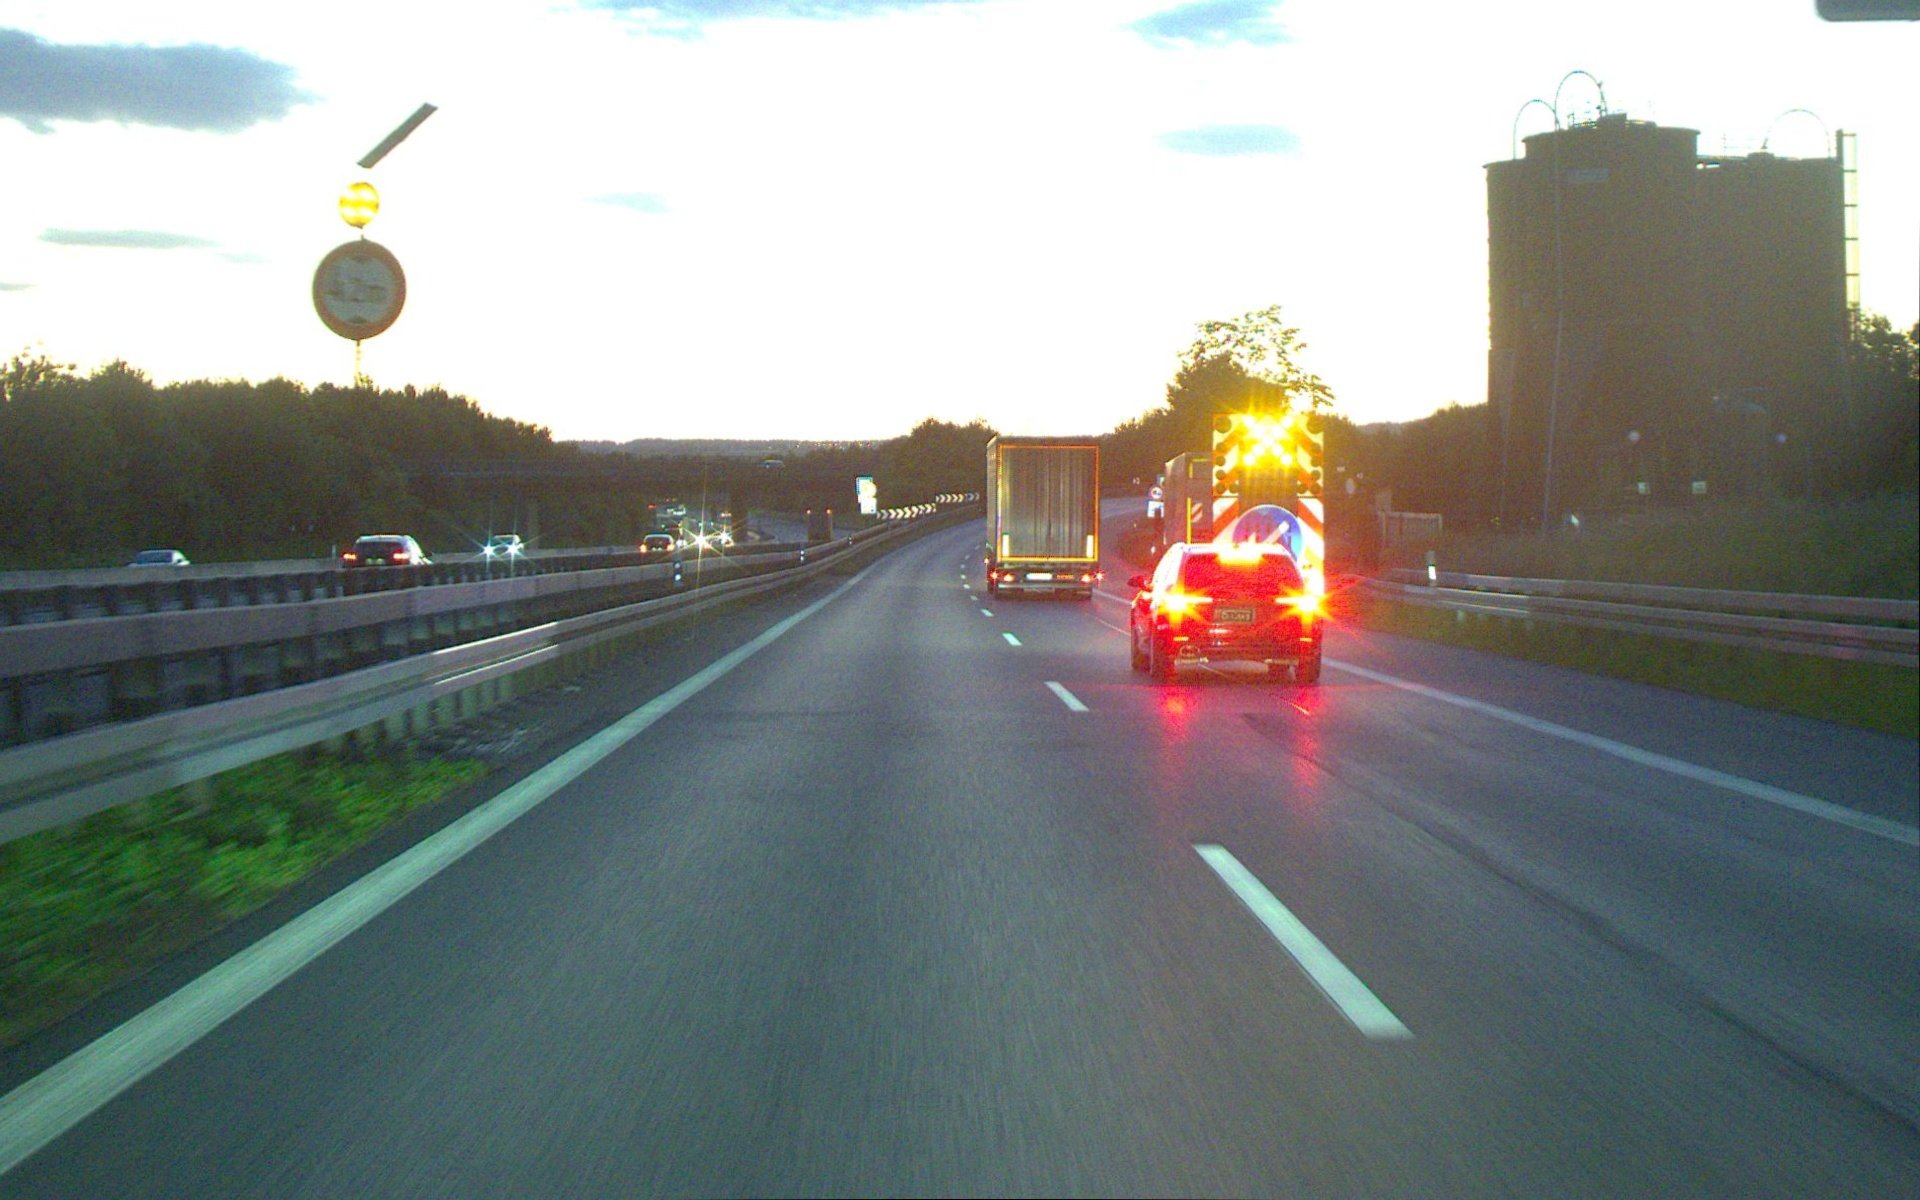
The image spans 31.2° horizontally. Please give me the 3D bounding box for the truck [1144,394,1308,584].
[{"bbox_3d":[5.995,-2.516,78.881,2.913,4.097,9.151,0,1,-1],"label":"truck"}]

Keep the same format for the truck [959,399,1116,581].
[{"bbox_3d":[1.881,-2.778,88.187,3.509,4.286,9.892,-2,1,-1],"label":"truck"}]

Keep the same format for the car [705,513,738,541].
[{"bbox_3d":[-13.945,-4.263,201.323,1.638,1.541,3.395,-2,1,0],"label":"car"}]

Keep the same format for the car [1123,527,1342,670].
[{"bbox_3d":[2.879,-0.053,37.123,1.915,1.437,4.001,-1,1,-2],"label":"car"}]

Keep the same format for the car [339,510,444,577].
[{"bbox_3d":[-14.218,-1.428,86.183,1.872,1.556,4.520,-2,1,-1],"label":"car"}]

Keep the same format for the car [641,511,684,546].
[{"bbox_3d":[-14.019,-3.369,162.075,1.713,1.600,3.722,-2,1,0],"label":"car"}]

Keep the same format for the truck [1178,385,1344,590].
[{"bbox_3d":[6.146,-2.301,71.103,2.787,4.044,6.412,0,1,-1],"label":"truck"}]
